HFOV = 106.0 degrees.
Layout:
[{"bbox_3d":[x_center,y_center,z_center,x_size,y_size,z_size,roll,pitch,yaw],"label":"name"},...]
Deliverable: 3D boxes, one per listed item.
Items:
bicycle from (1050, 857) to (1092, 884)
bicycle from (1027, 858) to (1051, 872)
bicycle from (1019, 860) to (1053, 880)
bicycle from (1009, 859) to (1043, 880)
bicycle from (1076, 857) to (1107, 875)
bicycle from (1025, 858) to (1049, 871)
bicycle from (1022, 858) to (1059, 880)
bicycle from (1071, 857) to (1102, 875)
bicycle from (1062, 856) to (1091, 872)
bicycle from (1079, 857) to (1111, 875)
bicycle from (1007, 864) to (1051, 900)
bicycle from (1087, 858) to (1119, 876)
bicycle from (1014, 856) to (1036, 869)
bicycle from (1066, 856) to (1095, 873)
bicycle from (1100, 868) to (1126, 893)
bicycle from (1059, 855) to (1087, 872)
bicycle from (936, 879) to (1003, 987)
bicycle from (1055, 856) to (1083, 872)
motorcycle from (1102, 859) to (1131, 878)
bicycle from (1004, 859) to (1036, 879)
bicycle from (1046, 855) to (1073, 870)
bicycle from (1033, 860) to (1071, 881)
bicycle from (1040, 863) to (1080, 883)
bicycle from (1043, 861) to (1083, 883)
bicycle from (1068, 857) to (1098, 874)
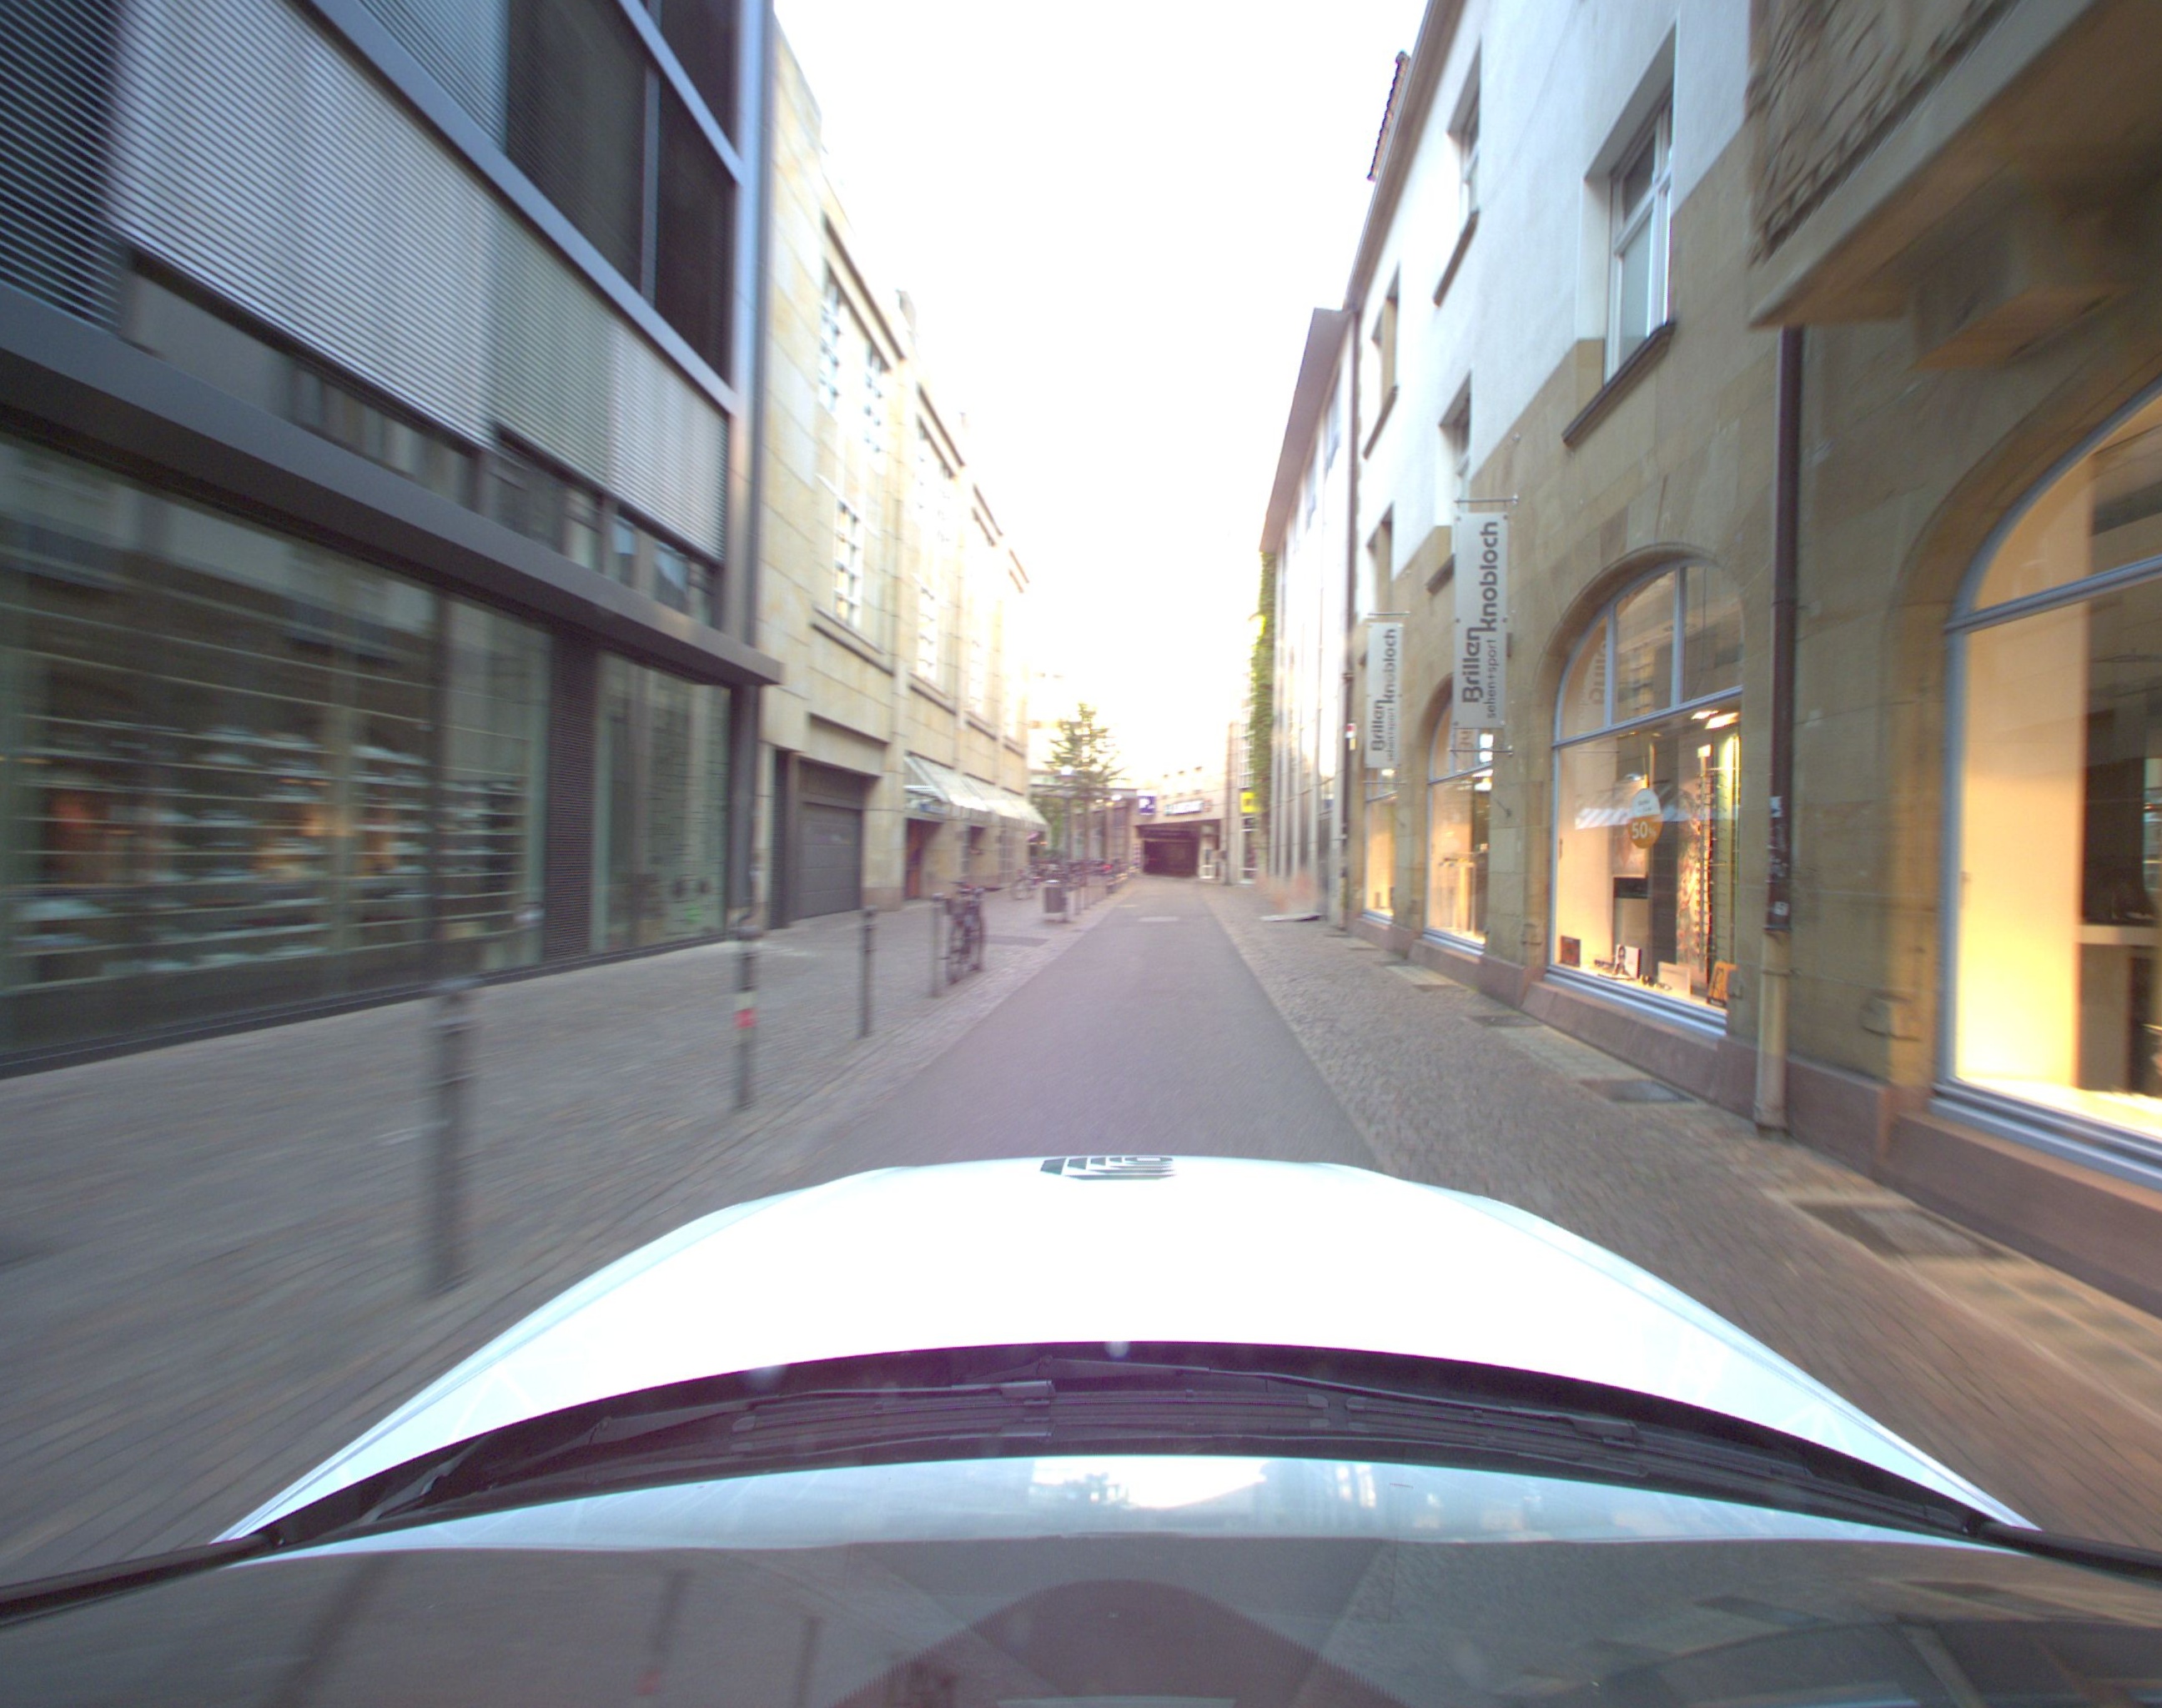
[{"bbox_3d":[-0.475,0.809,39.610,1.915,1.261,0.805,1,0,-14],"label":"bicycle"},{"bbox_3d":[-3.675,0.932,70.563,1.996,1.182,0.691,-1,0,-13],"label":"bicycle"},{"bbox_3d":[-2.682,0.941,48.009,1.913,1.182,0.693,1,0,-11],"label":"bicycle"},{"bbox_3d":[-3.303,0.929,48.817,1.913,1.182,0.693,1,0,-11],"label":"bicycle"},{"bbox_3d":[0.702,0.803,55.210,1.996,1.182,0.799,-1,0,-13],"label":"bicycle"},{"bbox_3d":[-3.853,0.917,71.398,1.996,1.182,0.691,-1,0,-13],"label":"bicycle"},{"bbox_3d":[-2.183,0.821,44.238,1.913,1.182,0.693,1,0,-11],"label":"bicycle"},{"bbox_3d":[0.386,0.806,56.385,1.996,1.182,0.799,-1,0,-13],"label":"bicycle"},{"bbox_3d":[-0.344,0.734,59.809,1.996,1.182,0.691,-1,0,-13],"label":"bicycle"},{"bbox_3d":[0.936,0.791,54.298,1.996,1.182,0.693,-1,0,-13],"label":"bicycle"},{"bbox_3d":[-1.663,0.892,26.382,0.687,1.112,1.786,0,0,21],"label":"bicycle"},{"bbox_3d":[1.458,0.844,53.328,1.996,1.182,0.693,-1,0,-13],"label":"bicycle"},{"bbox_3d":[-5.204,0.822,76.060,1.996,1.182,0.691,-1,0,-13],"label":"bicycle"},{"bbox_3d":[-0.023,0.773,58.886,1.996,1.182,0.691,-1,0,-13],"label":"bicycle"},{"bbox_3d":[1.299,1.061,33.035,0.500,0.966,1.703,0,0,21],"label":"bicycle"},{"bbox_3d":[-0.619,0.707,61.083,1.996,1.182,0.691,-1,0,-13],"label":"bicycle"},{"bbox_3d":[-1.338,0.906,10.037,0.408,1.132,1.933,1,0,4],"label":"bicycle"},{"bbox_3d":[-0.936,0.725,62.197,1.996,1.182,0.691,-1,0,-13],"label":"bicycle"},{"bbox_3d":[2.239,0.895,51.611,1.746,1.155,0.592,-1,0,-11],"label":"motorcycle"},{"bbox_3d":[-3.744,0.916,49.913,1.913,1.182,0.693,1,0,-11],"label":"bicycle"},{"bbox_3d":[-1.709,0.684,64.654,1.996,1.182,0.691,-1,0,-13],"label":"bicycle"},{"bbox_3d":[-1.527,0.866,43.263,1.913,1.101,0.693,1,0,-11],"label":"bicycle"},{"bbox_3d":[-1.048,0.967,41.091,1.915,0.994,0.693,1,0,-14],"label":"bicycle"},{"bbox_3d":[-0.938,0.913,42.006,1.915,1.101,0.693,1,0,-14],"label":"bicycle"},{"bbox_3d":[0.119,0.796,57.877,1.996,1.182,0.799,-1,0,-13],"label":"bicycle"}]
